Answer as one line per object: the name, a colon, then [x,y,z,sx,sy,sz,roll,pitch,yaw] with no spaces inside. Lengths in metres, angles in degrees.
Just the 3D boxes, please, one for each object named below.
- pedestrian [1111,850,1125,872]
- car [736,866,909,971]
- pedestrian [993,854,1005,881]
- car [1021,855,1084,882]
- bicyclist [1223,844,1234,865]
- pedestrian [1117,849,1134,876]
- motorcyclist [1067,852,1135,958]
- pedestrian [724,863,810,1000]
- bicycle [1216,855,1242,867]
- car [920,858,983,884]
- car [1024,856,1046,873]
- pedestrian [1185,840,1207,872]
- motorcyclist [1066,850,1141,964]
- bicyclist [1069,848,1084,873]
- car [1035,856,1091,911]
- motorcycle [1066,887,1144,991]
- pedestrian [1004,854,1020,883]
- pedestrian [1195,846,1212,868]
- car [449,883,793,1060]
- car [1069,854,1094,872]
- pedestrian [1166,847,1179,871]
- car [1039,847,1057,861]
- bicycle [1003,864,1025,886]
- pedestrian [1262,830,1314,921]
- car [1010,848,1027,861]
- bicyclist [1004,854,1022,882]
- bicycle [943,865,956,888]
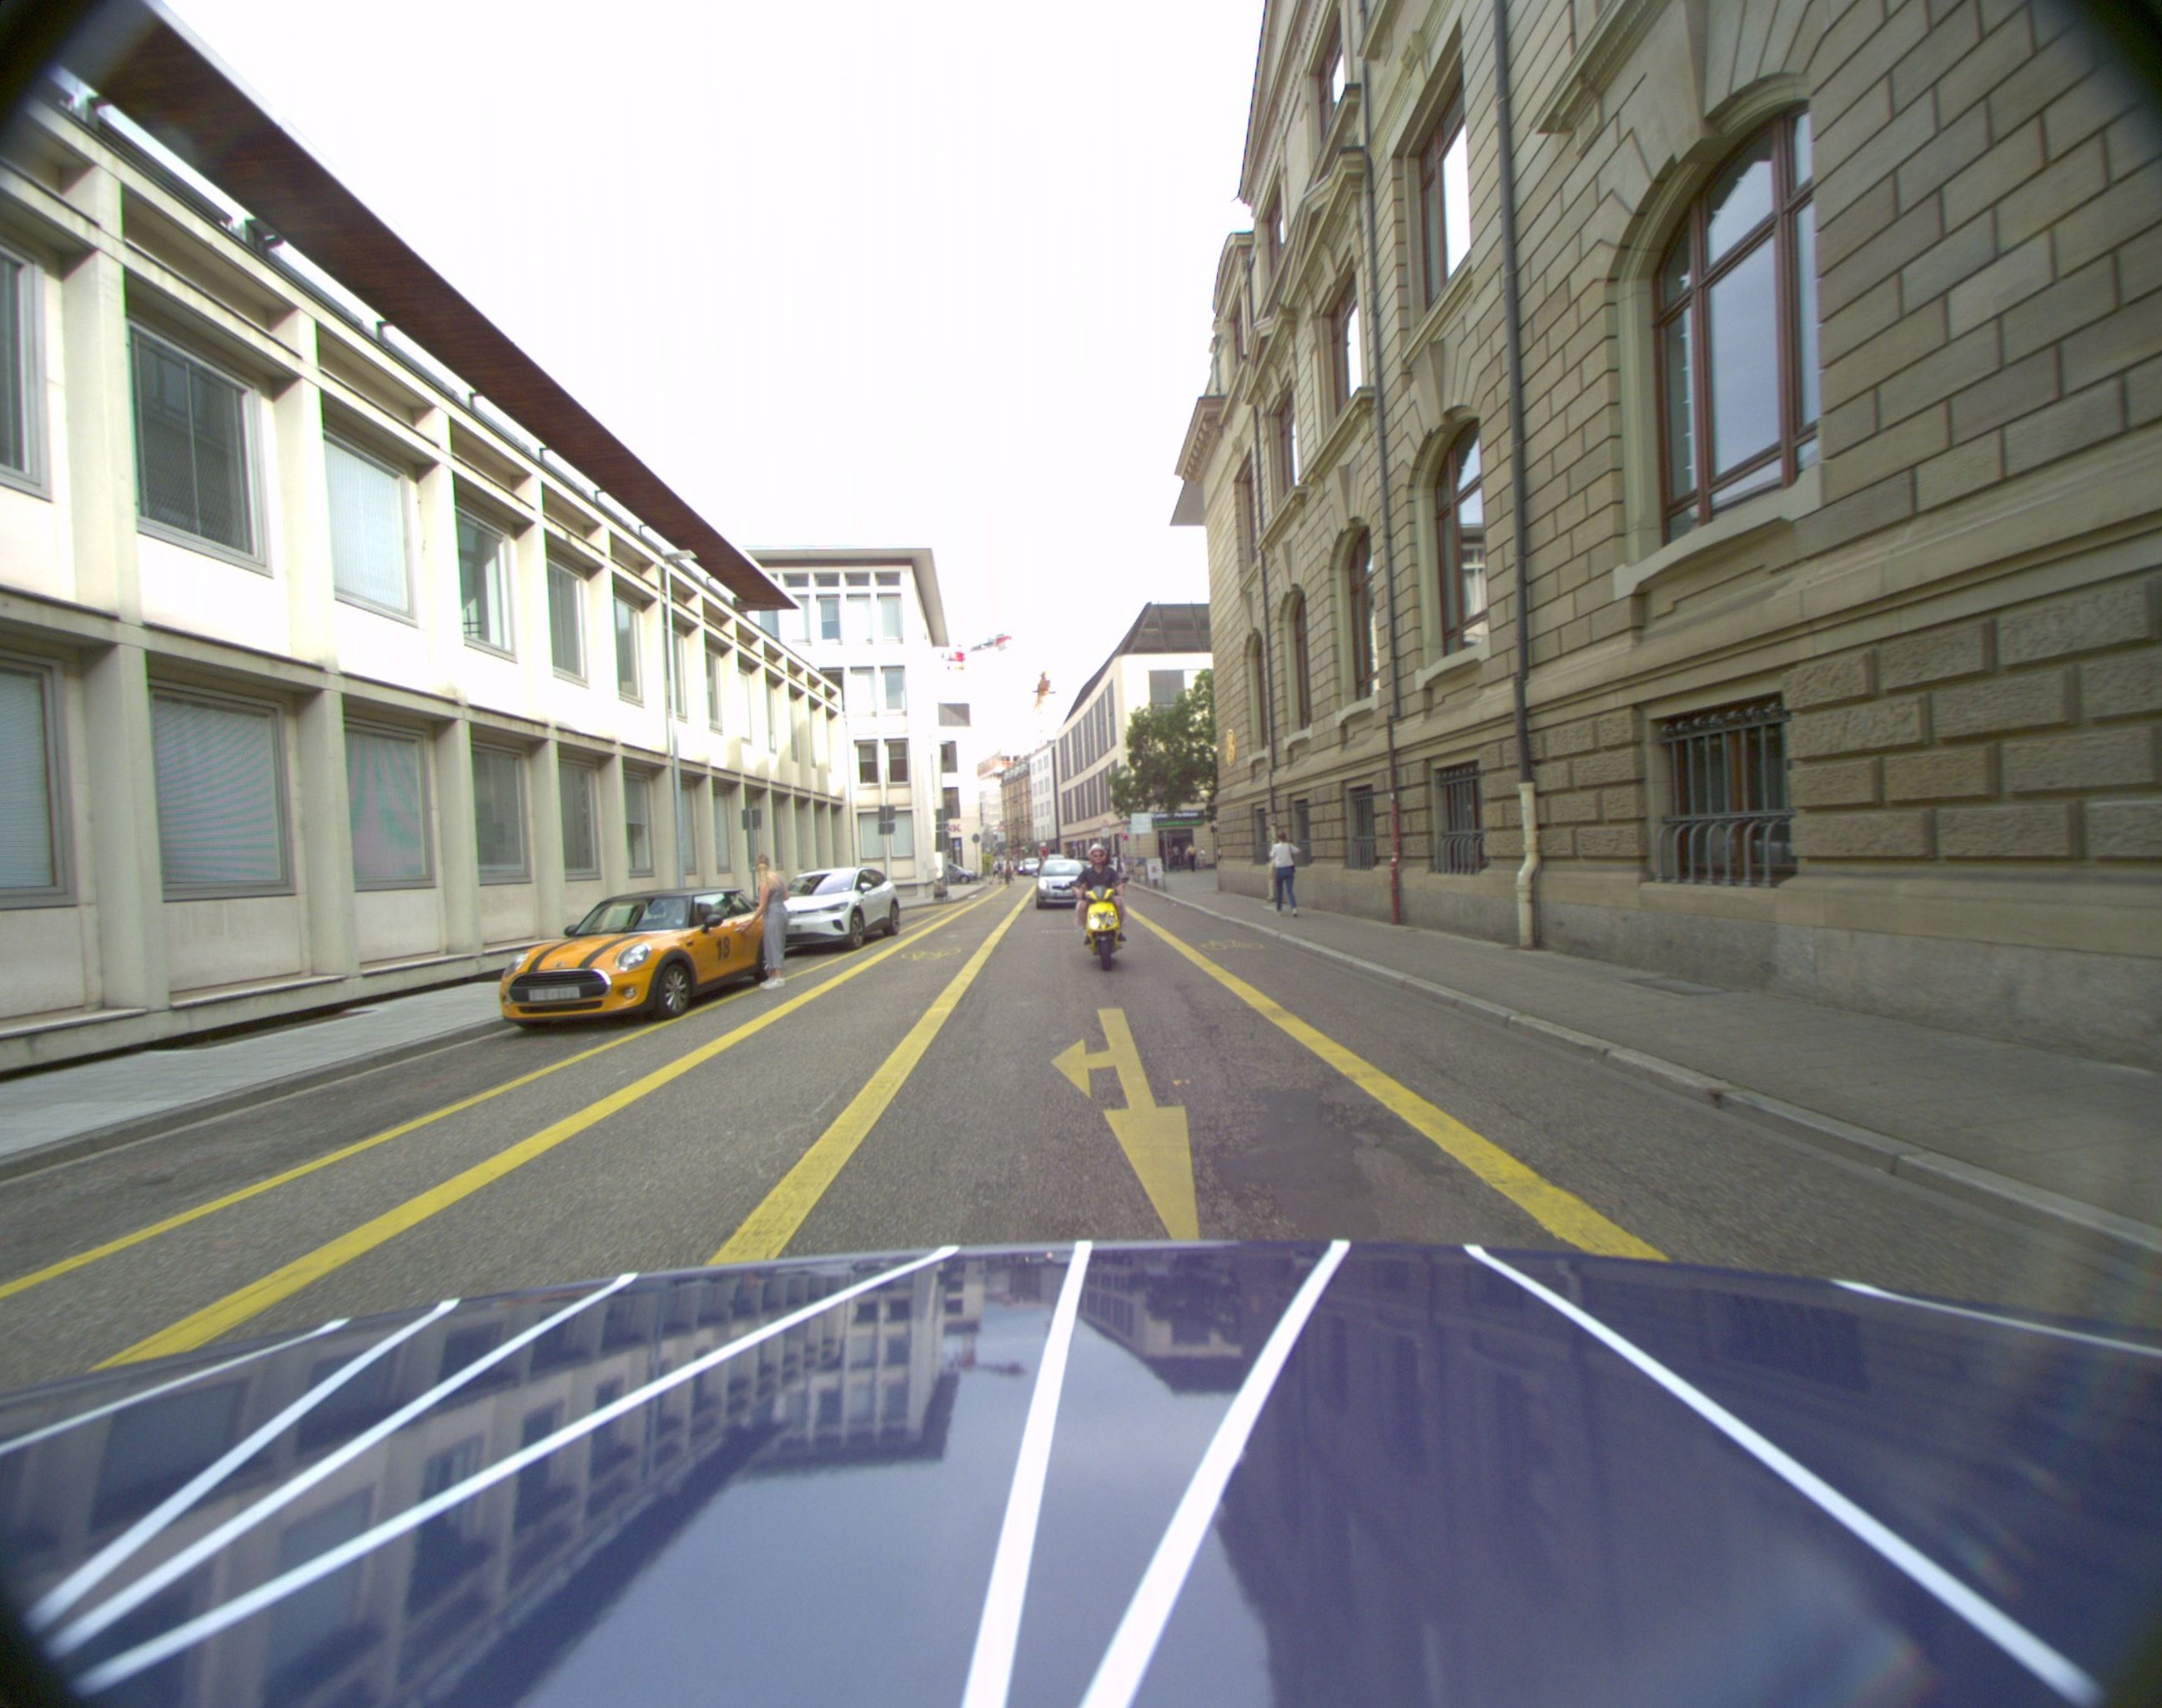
pedestrian: [3.069,0.568,63.530,0.879,1.699,0.910,-6,1,-3]
car: [-5.143,1.190,15.879,1.865,1.596,4.511,-6,1,1]
pedestrian: [-5.418,0.908,50.022,0.644,1.755,0.653,-3,1,-14]
car: [-1.756,0.867,46.065,1.720,1.482,3.755,-4,1,-41]
bicyclist: [10.972,0.026,56.585,0.586,1.586,0.663,-3,1,-5]
pedestrian: [3.086,0.611,52.430,0.775,1.820,0.860,-3,1,-22]
motorcyclist: [0.264,0.698,10.817,0.904,1.445,0.742,-1,0,-2]
pedestrian: [-4.212,1.018,10.221,0.699,1.753,0.706,-2,1,13]
bicycle: [11.039,0.545,56.599,1.769,0.792,0.663,-3,1,-5]
car: [-9.165,1.174,53.946,4.194,1.581,1.814,-3,1,-4]
car: [-4.434,0.973,72.162,1.563,1.547,4.099,-3,1,-10]
pedestrian: [6.675,0.107,44.124,1.029,1.710,0.818,-5,1,-2]
motorcyclist: [0.281,0.685,10.288,0.924,1.445,1.065,-1,0,-2]
bicyclist: [-0.296,0.423,50.289,0.644,1.610,0.622,-5,0,-17]
car: [-0.566,0.887,24.358,1.562,1.482,3.783,-4,1,-1]
motorcycle: [0.279,1.082,10.316,0.930,1.158,2.127,-1,0,-1]
pedestrian: [-4.540,0.916,49.718,0.746,1.804,0.755,-7,2,-14]
pedestrian: [10.115,0.231,62.631,1.060,1.755,0.892,-5,2,-4]
car: [-5.273,1.240,9.433,1.684,1.426,3.886,-5,1,2]
car: [0.029,0.774,69.800,1.563,1.547,4.099,-3,1,-10]
pedestrian: [7.191,0.371,59.873,0.648,1.820,0.860,-3,1,-15]
car: [-3.946,-0.007,90.193,1.563,1.547,4.099,-3,1,-10]
bicycle: [-3.929,1.216,44.416,0.871,1.188,2.860,-3,1,-13]
pedestrian: [4.342,0.441,16.003,0.665,1.809,1.047,-4,1,-2]
car: [-7.341,0.059,88.979,1.590,1.477,3.996,-3,1,-11]
bicyclist: [-3.978,0.793,44.541,0.893,1.585,0.876,-3,1,-13]
bicycle: [-7.231,1.222,41.881,0.590,1.161,1.813,-3,1,-7]
